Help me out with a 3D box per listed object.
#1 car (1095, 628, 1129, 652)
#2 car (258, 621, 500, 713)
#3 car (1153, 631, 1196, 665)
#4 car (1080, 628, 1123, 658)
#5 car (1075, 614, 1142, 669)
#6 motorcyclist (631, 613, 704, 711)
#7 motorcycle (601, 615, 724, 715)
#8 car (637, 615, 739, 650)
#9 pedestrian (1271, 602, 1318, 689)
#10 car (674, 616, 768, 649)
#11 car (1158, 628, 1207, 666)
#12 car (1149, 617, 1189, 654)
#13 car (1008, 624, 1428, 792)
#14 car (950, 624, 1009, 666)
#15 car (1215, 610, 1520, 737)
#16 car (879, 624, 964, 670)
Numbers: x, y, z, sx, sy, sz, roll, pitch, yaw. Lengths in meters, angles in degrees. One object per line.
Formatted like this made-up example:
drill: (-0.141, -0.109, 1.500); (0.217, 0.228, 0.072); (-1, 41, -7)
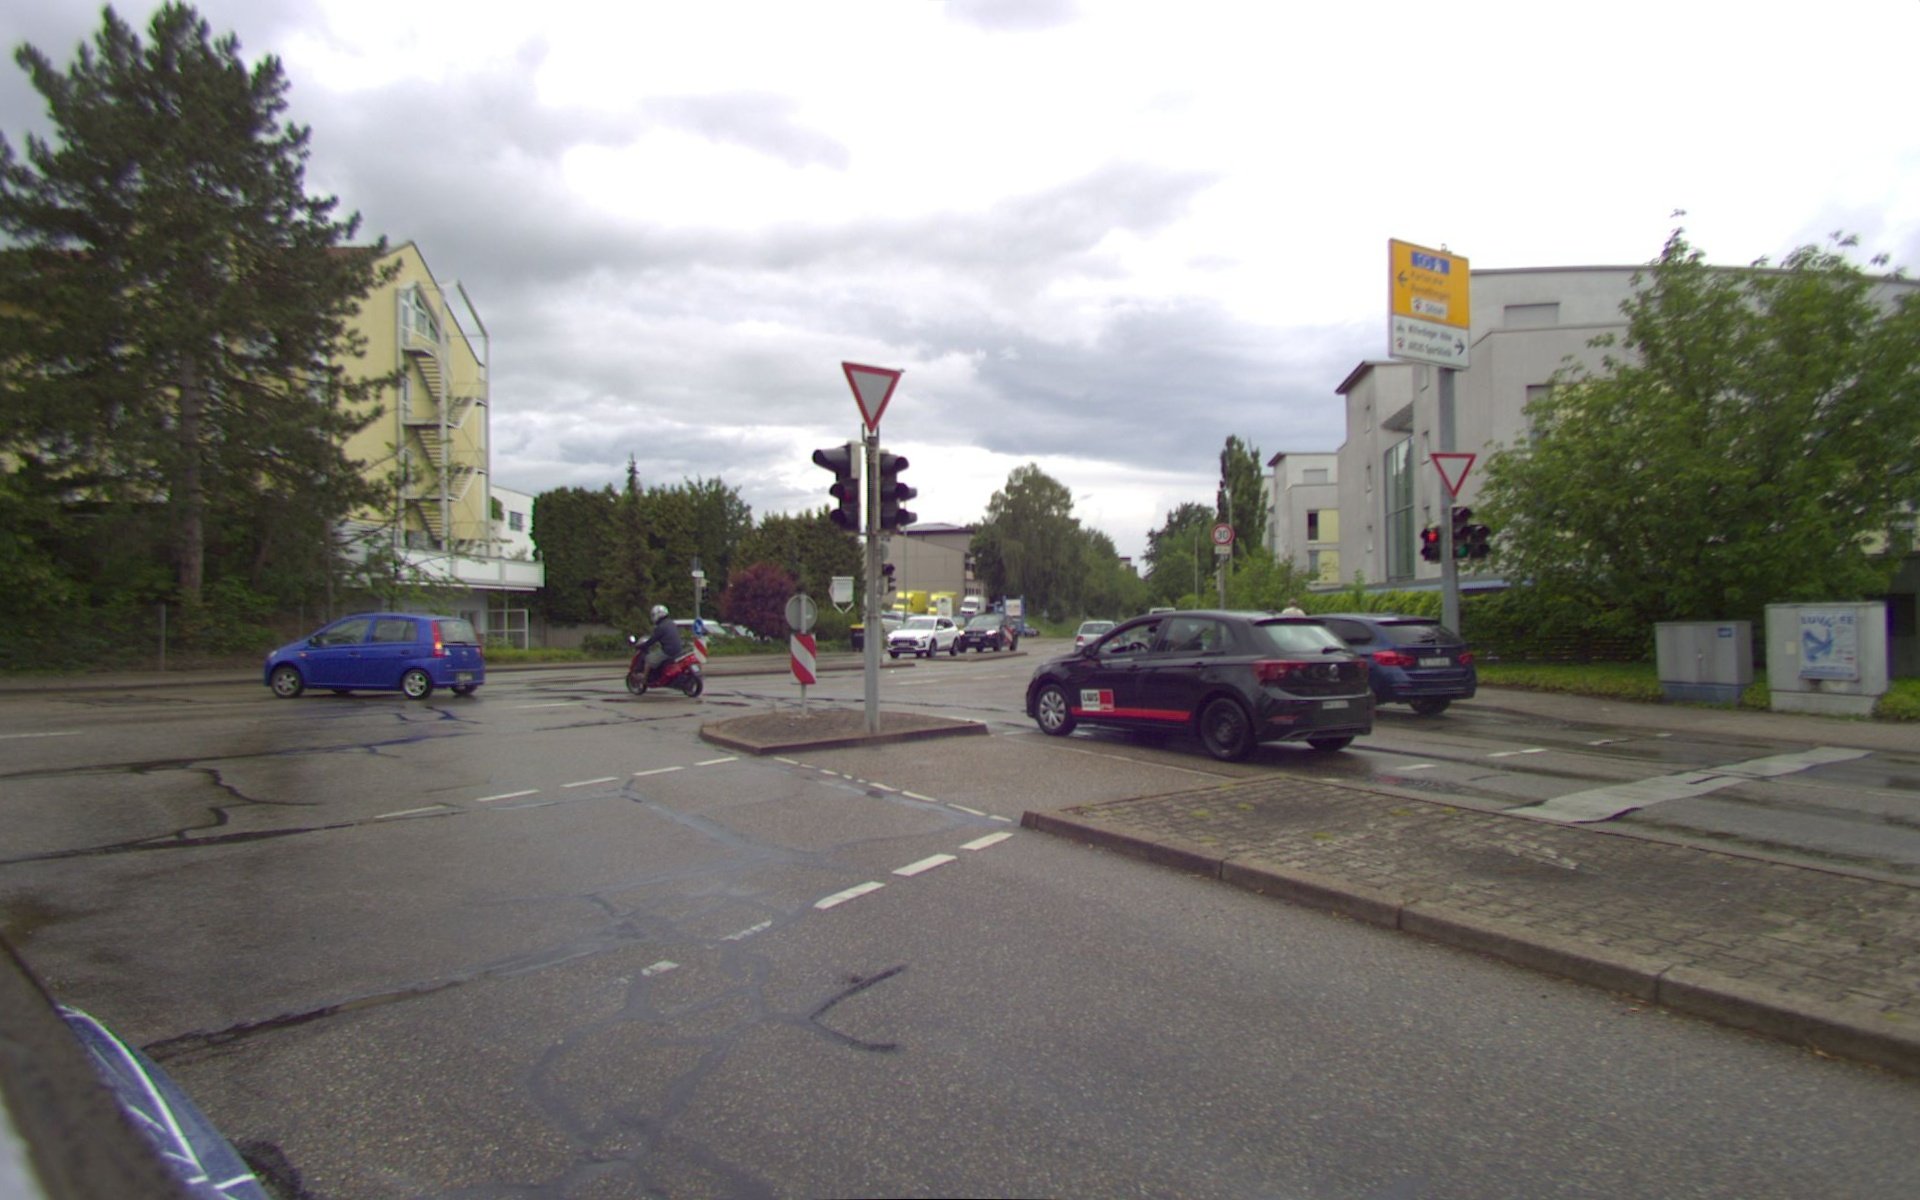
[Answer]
car: (10.712, 2.794, 71.251); (1.981, 1.567, 3.981); (-2, -2, 14)
car: (-10.021, 1.133, 17.571); (3.400, 1.467, 1.521); (0, -3, 8)
car: (10.649, 2.348, 50.423); (1.978, 1.567, 3.987); (1, -1, 10)
car: (8.006, 2.461, 56.958); (1.981, 1.564, 3.982); (-1, -4, 14)
car: (5.475, 1.464, 36.896); (1.981, 1.682, 3.981); (-1, 2, 15)
motorcyclist: (-5.028, 1.043, 17.433); (0.931, 1.637, 0.768); (0, -1, 18)
motorcycle: (-5.129, 1.092, 17.472); (1.906, 1.637, 0.792); (0, -1, 19)
car: (-11.989, 1.390, 44.684); (3.973, 1.475, 1.985); (0, -1, 22)
pedestrian: (7.953, 1.075, 24.120); (0.839, 2.029, 0.800); (-1, -3, 5)
car: (-11.074, 1.484, 46.939); (3.969, 1.404, 1.721); (0, 2, 20)
car: (10.039, 2.095, 45.908); (1.978, 1.567, 3.987); (-2, -2, 10)
car: (14.575, 2.519, 70.238); (2.574, 2.432, 5.234); (-1, -4, 13)
car: (2.496, 0.983, 10.815); (1.792, 1.419, 4.213); (1, -2, -35)
car: (0.956, 2.078, 47.358); (1.980, 1.829, 3.984); (-1, -1, 13)
car: (5.767, 0.981, 15.006); (1.730, 1.446, 4.366); (3, 0, -18)
car: (-1.466, 1.798, 40.141); (1.986, 1.652, 3.972); (0, -1, 21)
